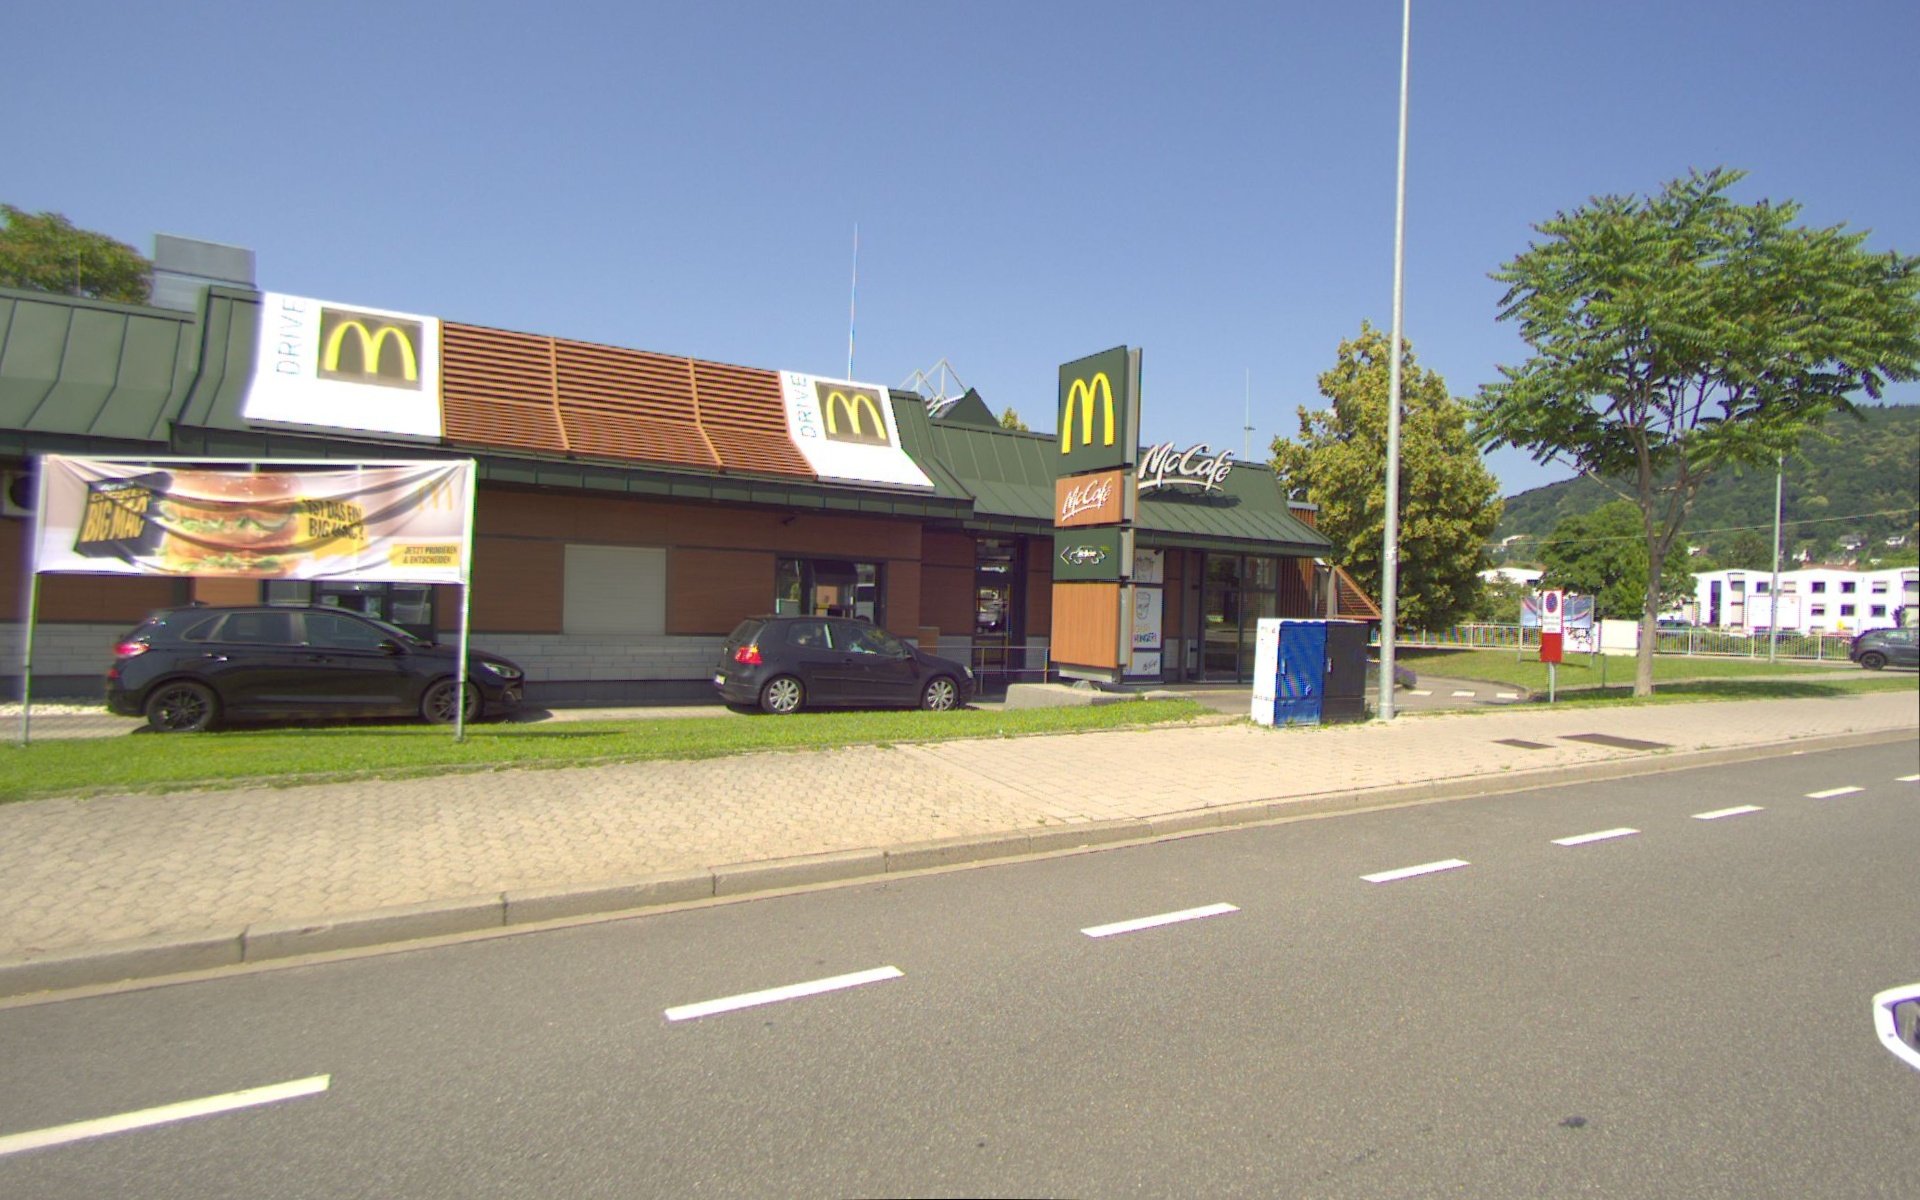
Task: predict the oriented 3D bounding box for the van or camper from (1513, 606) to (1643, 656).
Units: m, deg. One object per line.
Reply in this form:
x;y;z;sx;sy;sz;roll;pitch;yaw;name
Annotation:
23.891;1.161;38.897;3.943;1.595;1.989;4;3;43;van or camper

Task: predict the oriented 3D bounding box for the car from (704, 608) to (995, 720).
-1.727;0.929;15.745;4.078;1.435;1.985;1;3;-28;car

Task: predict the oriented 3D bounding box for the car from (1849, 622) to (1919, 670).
34.445;1.638;35.616;1.987;1.613;4.272;1;0;-45;car

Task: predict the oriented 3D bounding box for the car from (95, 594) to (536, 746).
-7.653;0.756;12.352;4.273;1.496;1.817;1;3;-32;car
